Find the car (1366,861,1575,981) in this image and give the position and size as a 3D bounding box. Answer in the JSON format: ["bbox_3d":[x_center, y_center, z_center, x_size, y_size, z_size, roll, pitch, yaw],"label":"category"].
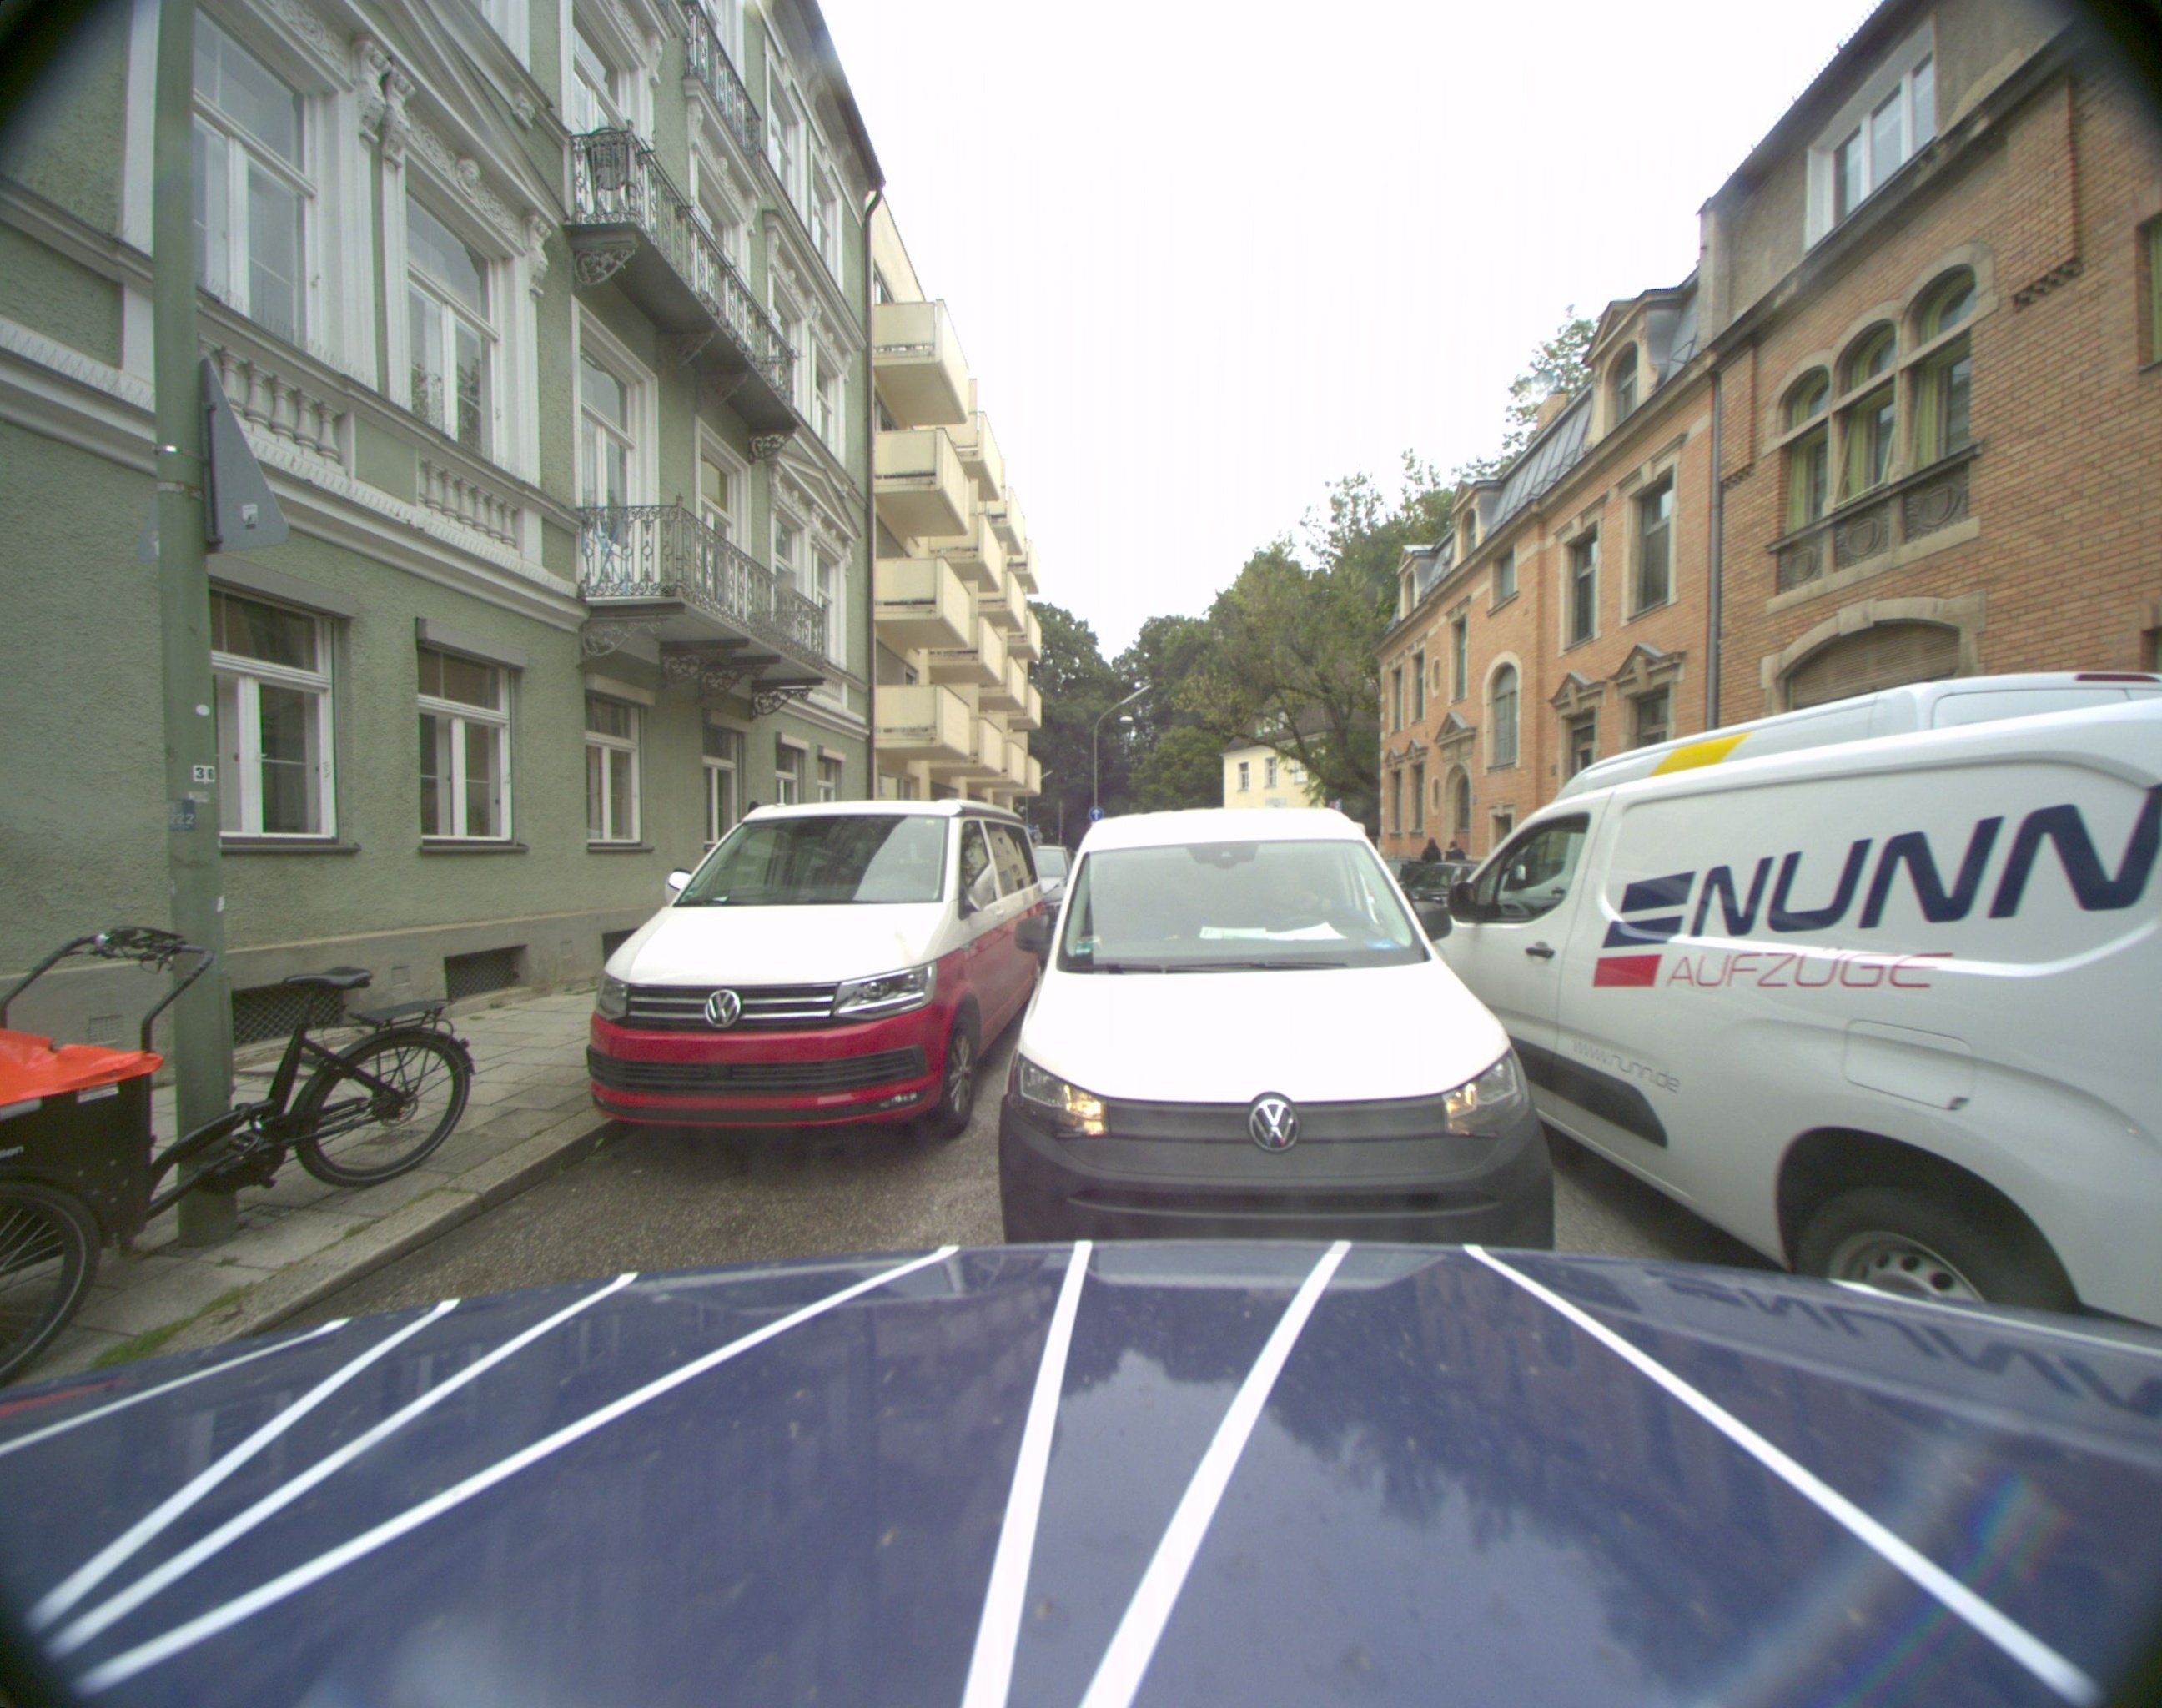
[{"bbox_3d":[5.637,0.874,11.475,1.526,1.434,3.542,2,0,5],"label":"car"}]

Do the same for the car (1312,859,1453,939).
[{"bbox_3d":[6.324,0.866,16.404,1.693,1.434,3.985,2,0,5],"label":"car"}]

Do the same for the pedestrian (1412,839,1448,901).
[{"bbox_3d":[9.359,0.426,20.400,0.633,1.623,0.675,2,1,5],"label":"pedestrian"}]

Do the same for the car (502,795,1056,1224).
[{"bbox_3d":[-1.463,0.712,5.703,1.857,1.885,4.593,-3,0,6],"label":"car"}]

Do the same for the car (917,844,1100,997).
[{"bbox_3d":[-0.804,0.792,11.205,1.831,1.747,4.555,-2,0,5],"label":"car"}]

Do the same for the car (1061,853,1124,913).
[{"bbox_3d":[0.415,0.793,22.767,1.550,1.562,3.979,-2,0,5],"label":"car"}]

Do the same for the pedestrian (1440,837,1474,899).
[{"bbox_3d":[10.084,0.367,20.402,0.633,1.623,0.467,2,1,5],"label":"pedestrian"}]

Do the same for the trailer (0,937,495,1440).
[{"bbox_3d":[-3.400,1.026,2.558,0.943,1.177,2.165,3,1,10],"label":"trailer"}]

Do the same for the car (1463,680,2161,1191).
[{"bbox_3d":[5.309,0.372,6.279,1.985,2.464,5.224,1,1,5],"label":"car"}]

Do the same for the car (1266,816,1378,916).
[{"bbox_3d":[6.856,0.308,22.150,2.117,2.525,4.423,3,0,6],"label":"car"}]

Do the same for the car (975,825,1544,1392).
[{"bbox_3d":[0.744,0.776,4.423,1.775,1.761,4.001,0,1,6],"label":"car"}]

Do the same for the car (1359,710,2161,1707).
[{"bbox_3d":[2.753,0.642,2.984,1.776,1.793,4.572,0,1,2],"label":"car"}]

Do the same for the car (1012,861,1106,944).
[{"bbox_3d":[-0.363,0.957,16.599,1.550,1.488,3.979,-2,0,5],"label":"car"}]
